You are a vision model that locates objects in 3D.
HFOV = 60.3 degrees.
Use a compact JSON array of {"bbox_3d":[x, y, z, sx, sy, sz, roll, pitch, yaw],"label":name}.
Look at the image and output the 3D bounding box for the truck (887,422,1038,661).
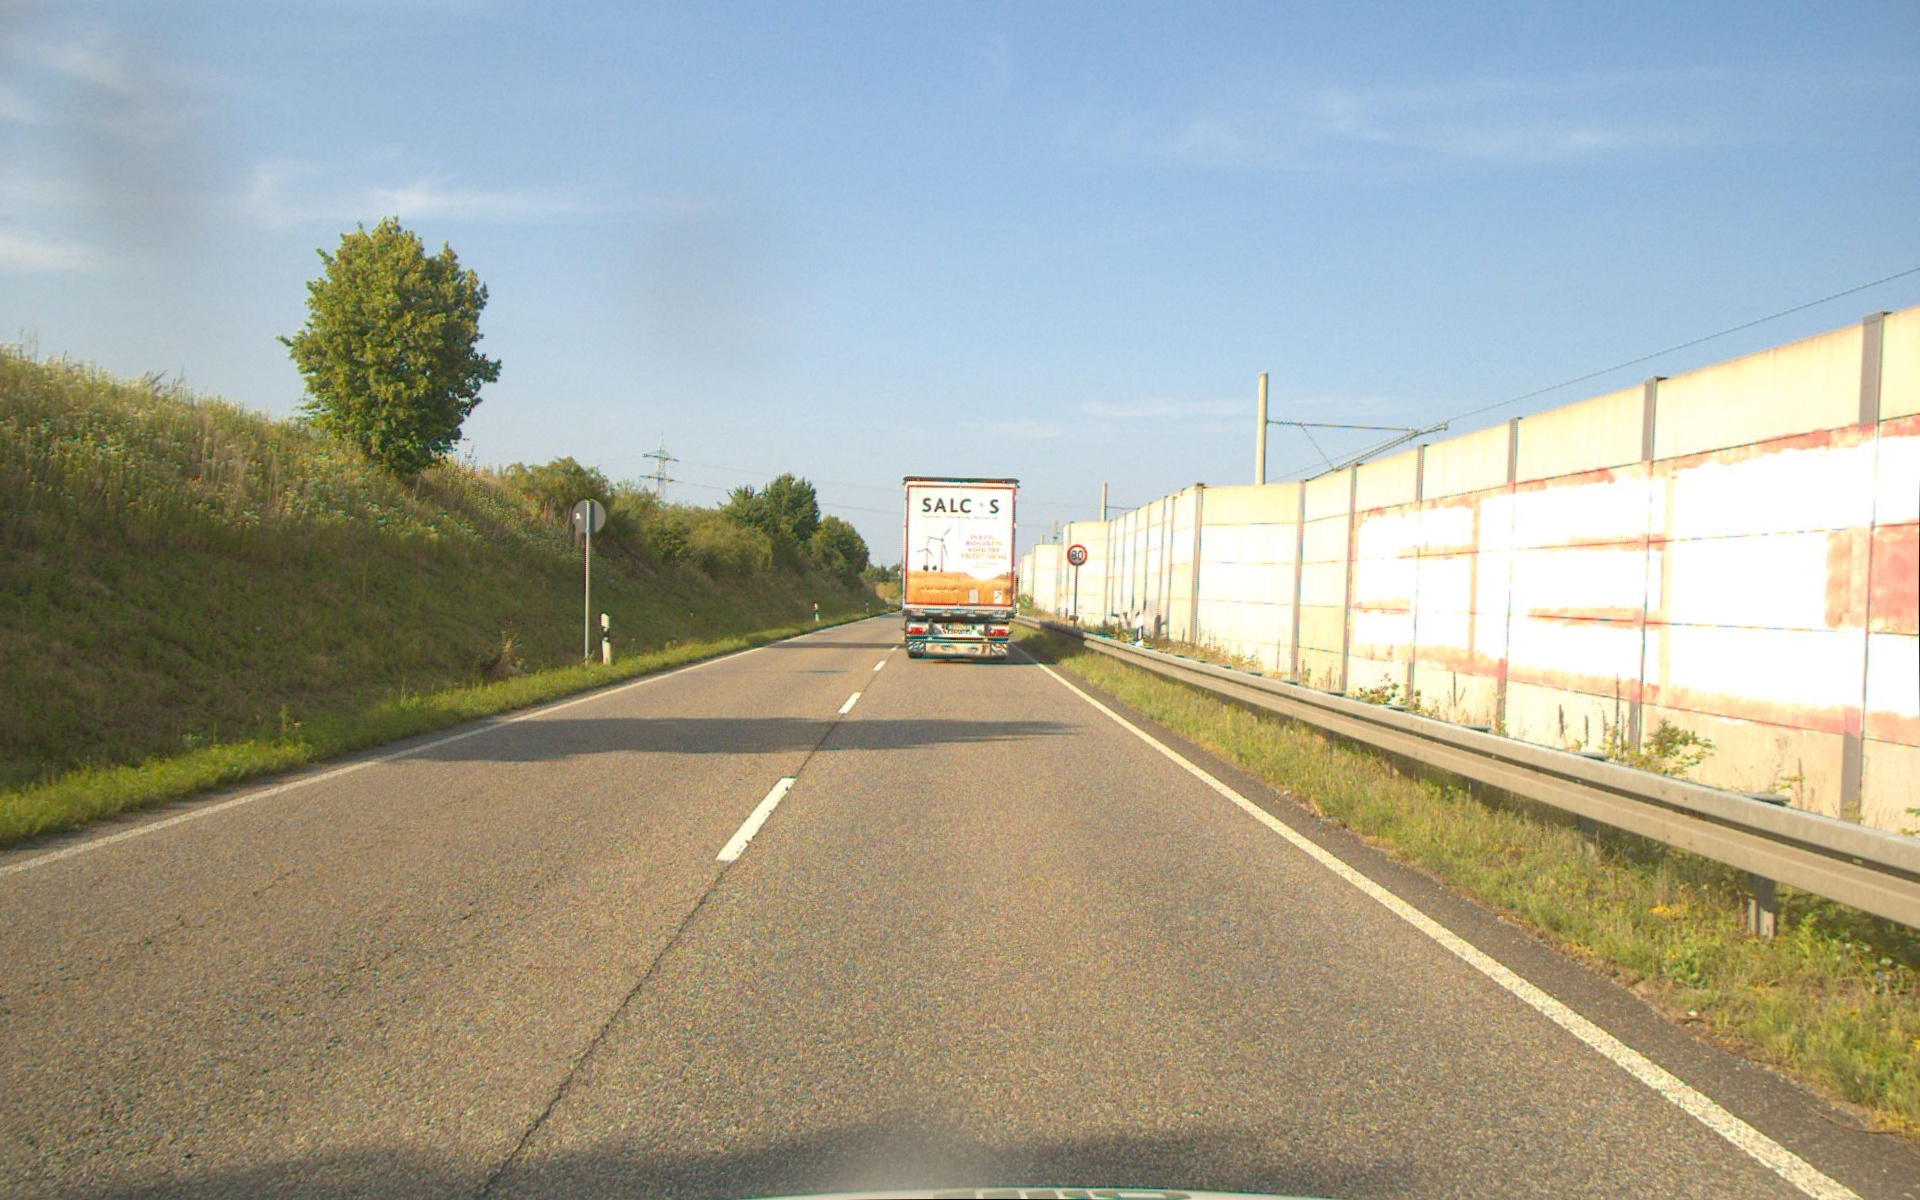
[{"bbox_3d":[-0.160,-1.331,42.449,3.224,5.179,12.032,1,0,-2],"label":"truck"}]
